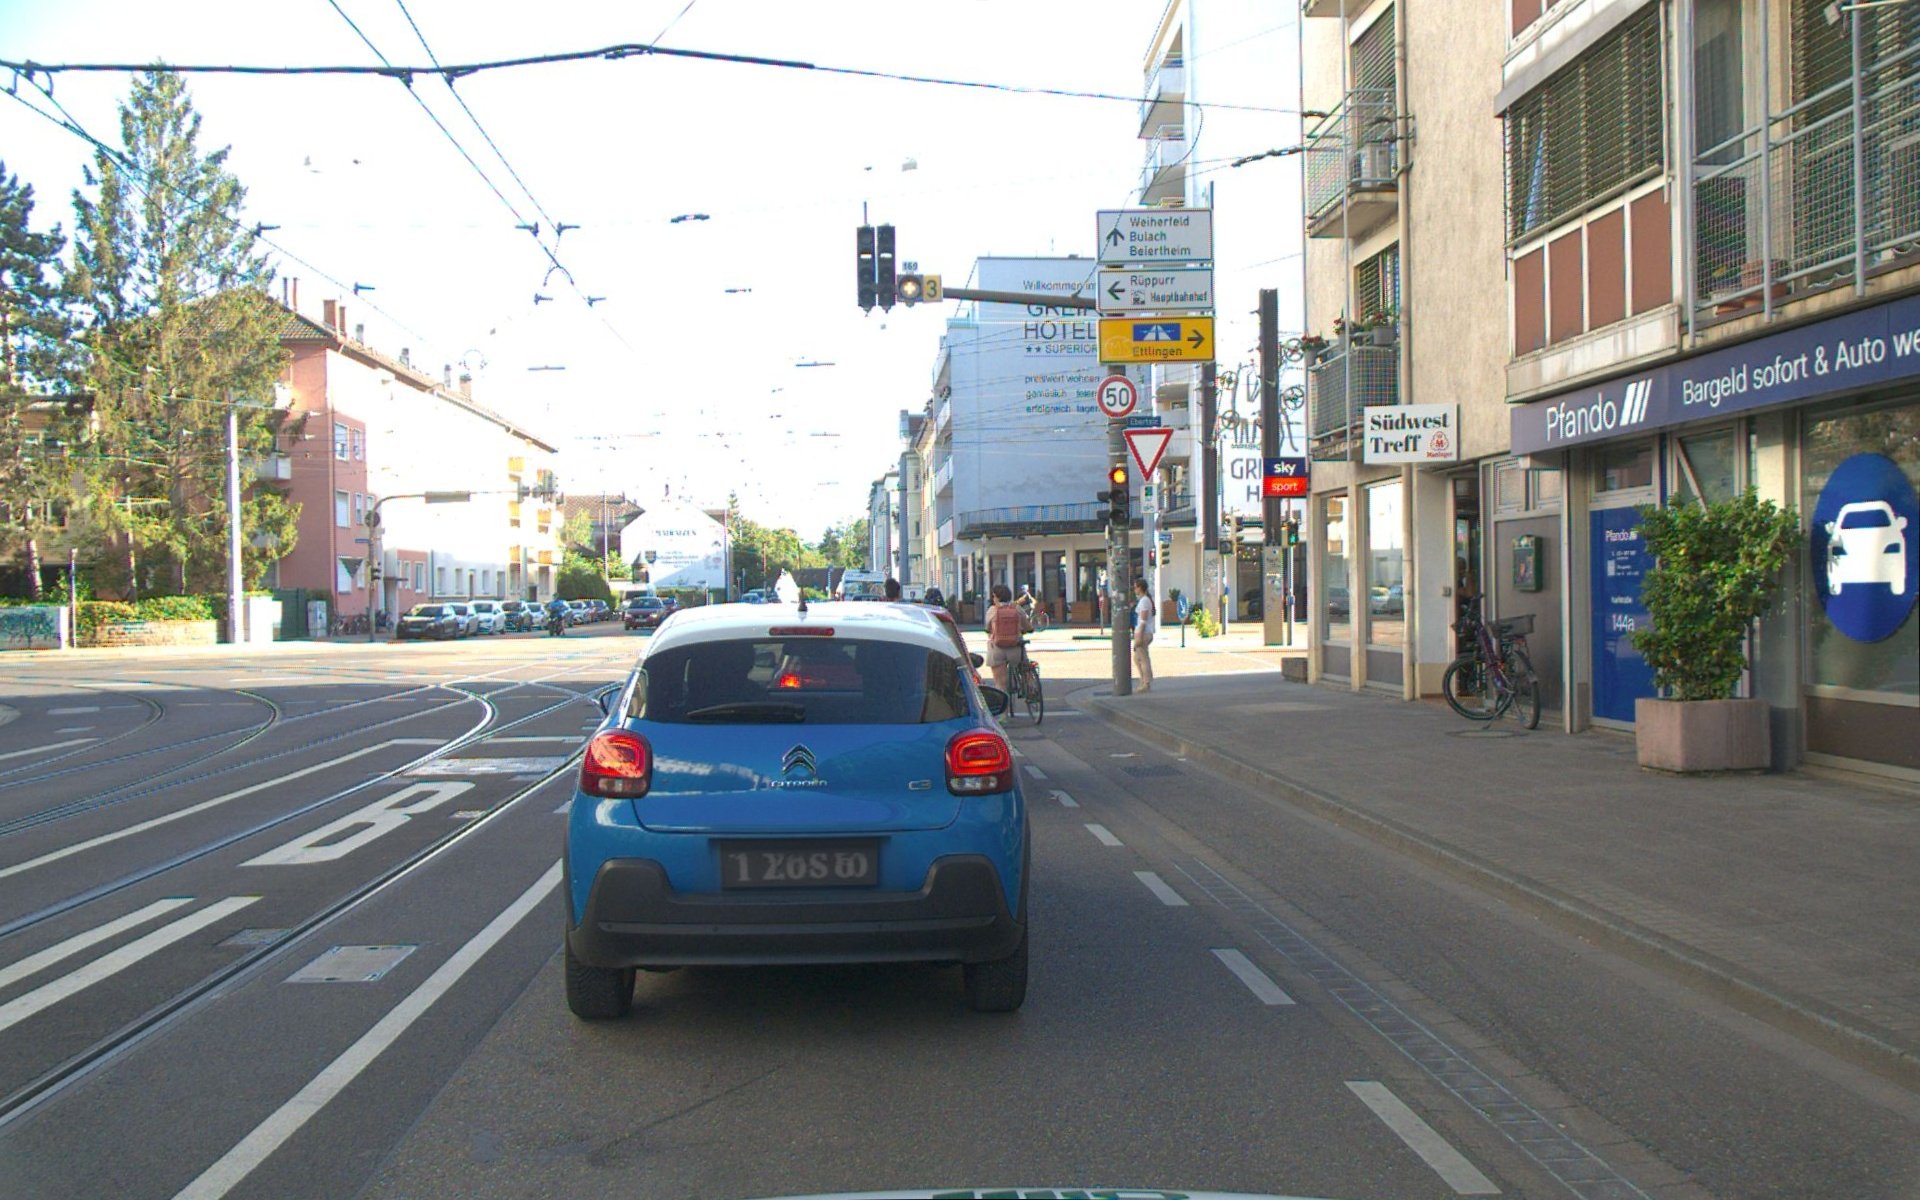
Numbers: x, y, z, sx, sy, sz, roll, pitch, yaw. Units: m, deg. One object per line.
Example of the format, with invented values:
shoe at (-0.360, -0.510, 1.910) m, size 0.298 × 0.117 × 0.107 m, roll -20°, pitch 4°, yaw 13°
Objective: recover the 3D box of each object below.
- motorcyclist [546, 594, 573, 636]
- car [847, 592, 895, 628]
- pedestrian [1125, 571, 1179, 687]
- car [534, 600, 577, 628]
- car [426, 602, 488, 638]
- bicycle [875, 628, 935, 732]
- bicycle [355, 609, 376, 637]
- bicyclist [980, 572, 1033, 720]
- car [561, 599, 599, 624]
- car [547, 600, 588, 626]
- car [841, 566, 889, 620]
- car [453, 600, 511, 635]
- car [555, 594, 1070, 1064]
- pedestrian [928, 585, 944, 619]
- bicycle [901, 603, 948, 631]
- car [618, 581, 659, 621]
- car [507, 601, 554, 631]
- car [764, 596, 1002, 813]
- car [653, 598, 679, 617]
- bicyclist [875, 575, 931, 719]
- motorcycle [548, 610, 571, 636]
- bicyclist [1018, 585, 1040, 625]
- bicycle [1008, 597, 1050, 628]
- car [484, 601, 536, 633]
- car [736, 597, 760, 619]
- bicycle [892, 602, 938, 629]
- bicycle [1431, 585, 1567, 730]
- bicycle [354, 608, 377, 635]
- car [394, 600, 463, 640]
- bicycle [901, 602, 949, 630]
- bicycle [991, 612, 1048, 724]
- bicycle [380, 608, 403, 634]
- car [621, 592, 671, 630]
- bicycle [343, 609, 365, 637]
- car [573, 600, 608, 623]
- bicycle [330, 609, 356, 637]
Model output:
motorcyclist at (-16.205, 0.607, 66.948) m, size 0.973 × 1.659 × 0.737 m, roll -1°, pitch 0°, yaw -10°
car at (-3.676, 0.386, 67.735) m, size 1.752 × 1.383 × 3.909 m, roll -1°, pitch 0°, yaw -6°
pedestrian at (2.822, 0.416, 24.338) m, size 0.735 × 1.663 × 0.740 m, roll -1°, pitch 0°, yaw 5°
car at (-23.935, 0.822, 97.987) m, size 1.913 × 1.545 × 3.995 m, roll -1°, pitch 0°, yaw -6°
car at (-22.554, 0.875, 74.251) m, size 1.913 × 1.545 × 4.040 m, roll -1°, pitch 0°, yaw -6°
bicycle at (-0.670, 0.922, 19.716) m, size 0.604 × 1.123 × 1.884 m, roll -1°, pitch 0°, yaw -5°
bicycle at (-24.230, 0.934, 67.410) m, size 0.527 × 1.101 × 1.905 m, roll -1°, pitch 0°, yaw -11°
bicyclist at (0.570, 0.554, 20.592) m, size 0.588 × 1.776 × 1.084 m, roll -1°, pitch 0°, yaw -1°
car at (-24.852, 0.749, 108.258) m, size 1.913 × 1.545 × 3.995 m, roll -1°, pitch 0°, yaw -6°
car at (-24.410, 0.808, 102.984) m, size 1.913 × 1.545 × 3.995 m, roll -1°, pitch 0°, yaw -6°
car at (-4.231, -0.315, 73.174) m, size 2.039 × 2.309 × 5.646 m, roll 0°, pitch 0°, yaw -4°
car at (-22.756, 0.819, 78.856) m, size 1.913 × 1.545 × 3.995 m, roll -1°, pitch 0°, yaw -6°
car at (-0.609, 0.733, 7.346) m, size 1.647 × 1.488 × 3.997 m, roll 1°, pitch 0°, yaw -4°
pedestrian at (-1.010, 0.093, 70.234) m, size 0.514 × 1.445 × 0.547 m, roll -1°, pitch 0°, yaw 19°
bicycle at (-1.446, 0.668, 67.080) m, size 1.868 × 1.083 × 0.641 m, roll -1°, pitch 0°, yaw -8°
car at (-23.225, 0.068, 119.572) m, size 2.446 × 2.759 × 5.828 m, roll -1°, pitch 0°, yaw -7°
car at (-23.764, 0.855, 91.562) m, size 1.913 × 1.545 × 3.995 m, roll -1°, pitch 0°, yaw -6°
car at (-0.676, 0.729, 13.555) m, size 1.647 × 1.488 × 3.997 m, roll 1°, pitch 0°, yaw -4°
car at (-25.577, 0.645, 144.160) m, size 1.913 × 1.545 × 3.995 m, roll -1°, pitch 0°, yaw -6°
bicyclist at (-0.685, 0.539, 19.612) m, size 0.604 × 1.658 × 0.759 m, roll -1°, pitch 0°, yaw -5°
motorcycle at (-16.225, 0.940, 67.016) m, size 0.738 × 0.993 × 2.092 m, roll -1°, pitch 0°, yaw -9°
bicyclist at (2.543, 0.175, 61.145) m, size 0.711 × 1.459 × 0.606 m, roll -1°, pitch 0°, yaw 9°
bicycle at (2.555, 0.473, 61.145) m, size 1.457 × 1.110 × 0.606 m, roll -1°, pitch 0°, yaw 8°
car at (-23.234, 0.839, 85.513) m, size 1.913 × 1.545 × 3.995 m, roll -1°, pitch 0°, yaw -6°
car at (-21.815, 0.811, 170.487) m, size 2.293 × 2.074 × 5.044 m, roll -1°, pitch 0°, yaw -6°
bicycle at (-1.860, 0.645, 68.266) m, size 1.868 × 1.083 × 0.641 m, roll -1°, pitch 0°, yaw -8°
bicycle at (5.115, 0.508, 15.815) m, size 0.627 × 1.287 × 1.910 m, roll -1°, pitch 0°, yaw -1°
bicycle at (-25.874, 0.925, 71.982) m, size 0.527 × 1.101 × 1.908 m, roll -1°, pitch 0°, yaw -7°
car at (-22.014, 0.790, 68.646) m, size 1.913 × 1.545 × 3.995 m, roll -1°, pitch 0°, yaw -6°
bicycle at (-1.393, 0.643, 65.775) m, size 1.868 × 1.083 × 0.641 m, roll -1°, pitch 0°, yaw -8°
bicycle at (0.723, 0.817, 20.632) m, size 0.601 × 1.287 × 1.910 m, roll -1°, pitch 0°, yaw -1°
bicycle at (-25.672, 0.939, 74.687) m, size 0.597 × 1.101 × 1.908 m, roll -1°, pitch 0°, yaw -7°
car at (-14.533, 0.480, 76.788) m, size 1.967 × 1.656 × 5.045 m, roll -1°, pitch 0°, yaw -7°
bicycle at (-24.588, 0.927, 67.111) m, size 0.527 × 1.101 × 1.905 m, roll -1°, pitch 0°, yaw -11°
car at (-25.568, 0.788, 114.588) m, size 1.913 × 1.545 × 3.995 m, roll -1°, pitch 0°, yaw -6°
bicycle at (-24.982, 0.917, 66.986) m, size 0.628 × 1.101 × 1.905 m, roll -1°, pitch 0°, yaw -11°
